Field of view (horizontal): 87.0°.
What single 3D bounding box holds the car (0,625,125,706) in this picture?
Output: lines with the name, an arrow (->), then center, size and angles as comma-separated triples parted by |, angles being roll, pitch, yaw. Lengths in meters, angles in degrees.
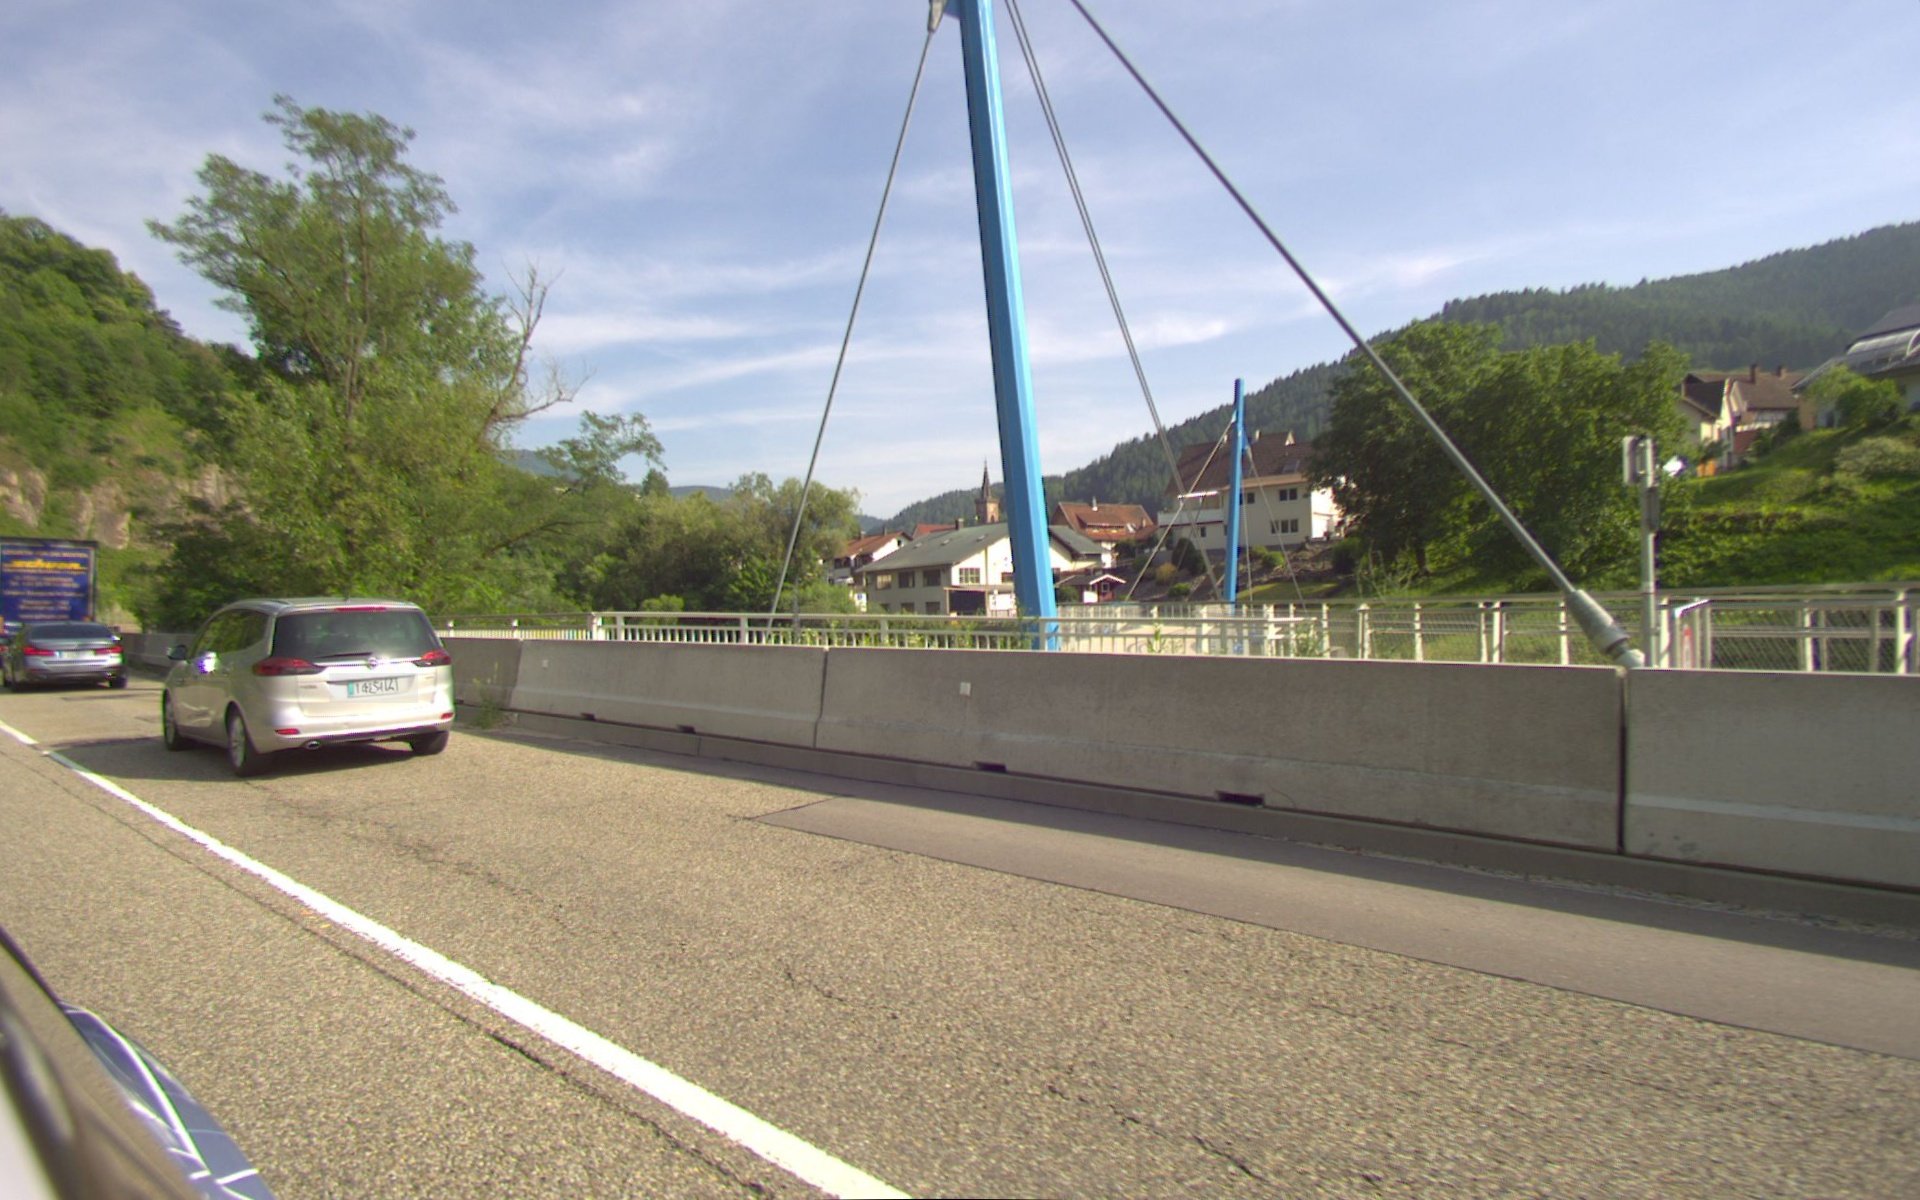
car -> -19.708, 1.334, 21.986 | 4.936, 1.507, 1.817 | -1, -1, 43

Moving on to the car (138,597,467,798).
car -> -7.080, 0.870, 10.686 | 4.645, 1.683, 1.754 | -1, -2, 42

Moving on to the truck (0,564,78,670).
truck -> -38.325, 0.726, 41.568 | 2.709, 4.059, 6.416 | 2, -3, -44

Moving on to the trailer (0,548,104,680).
trailer -> -33.488, 0.598, 36.630 | 2.823, 4.043, 13.680 | 2, -3, -44
